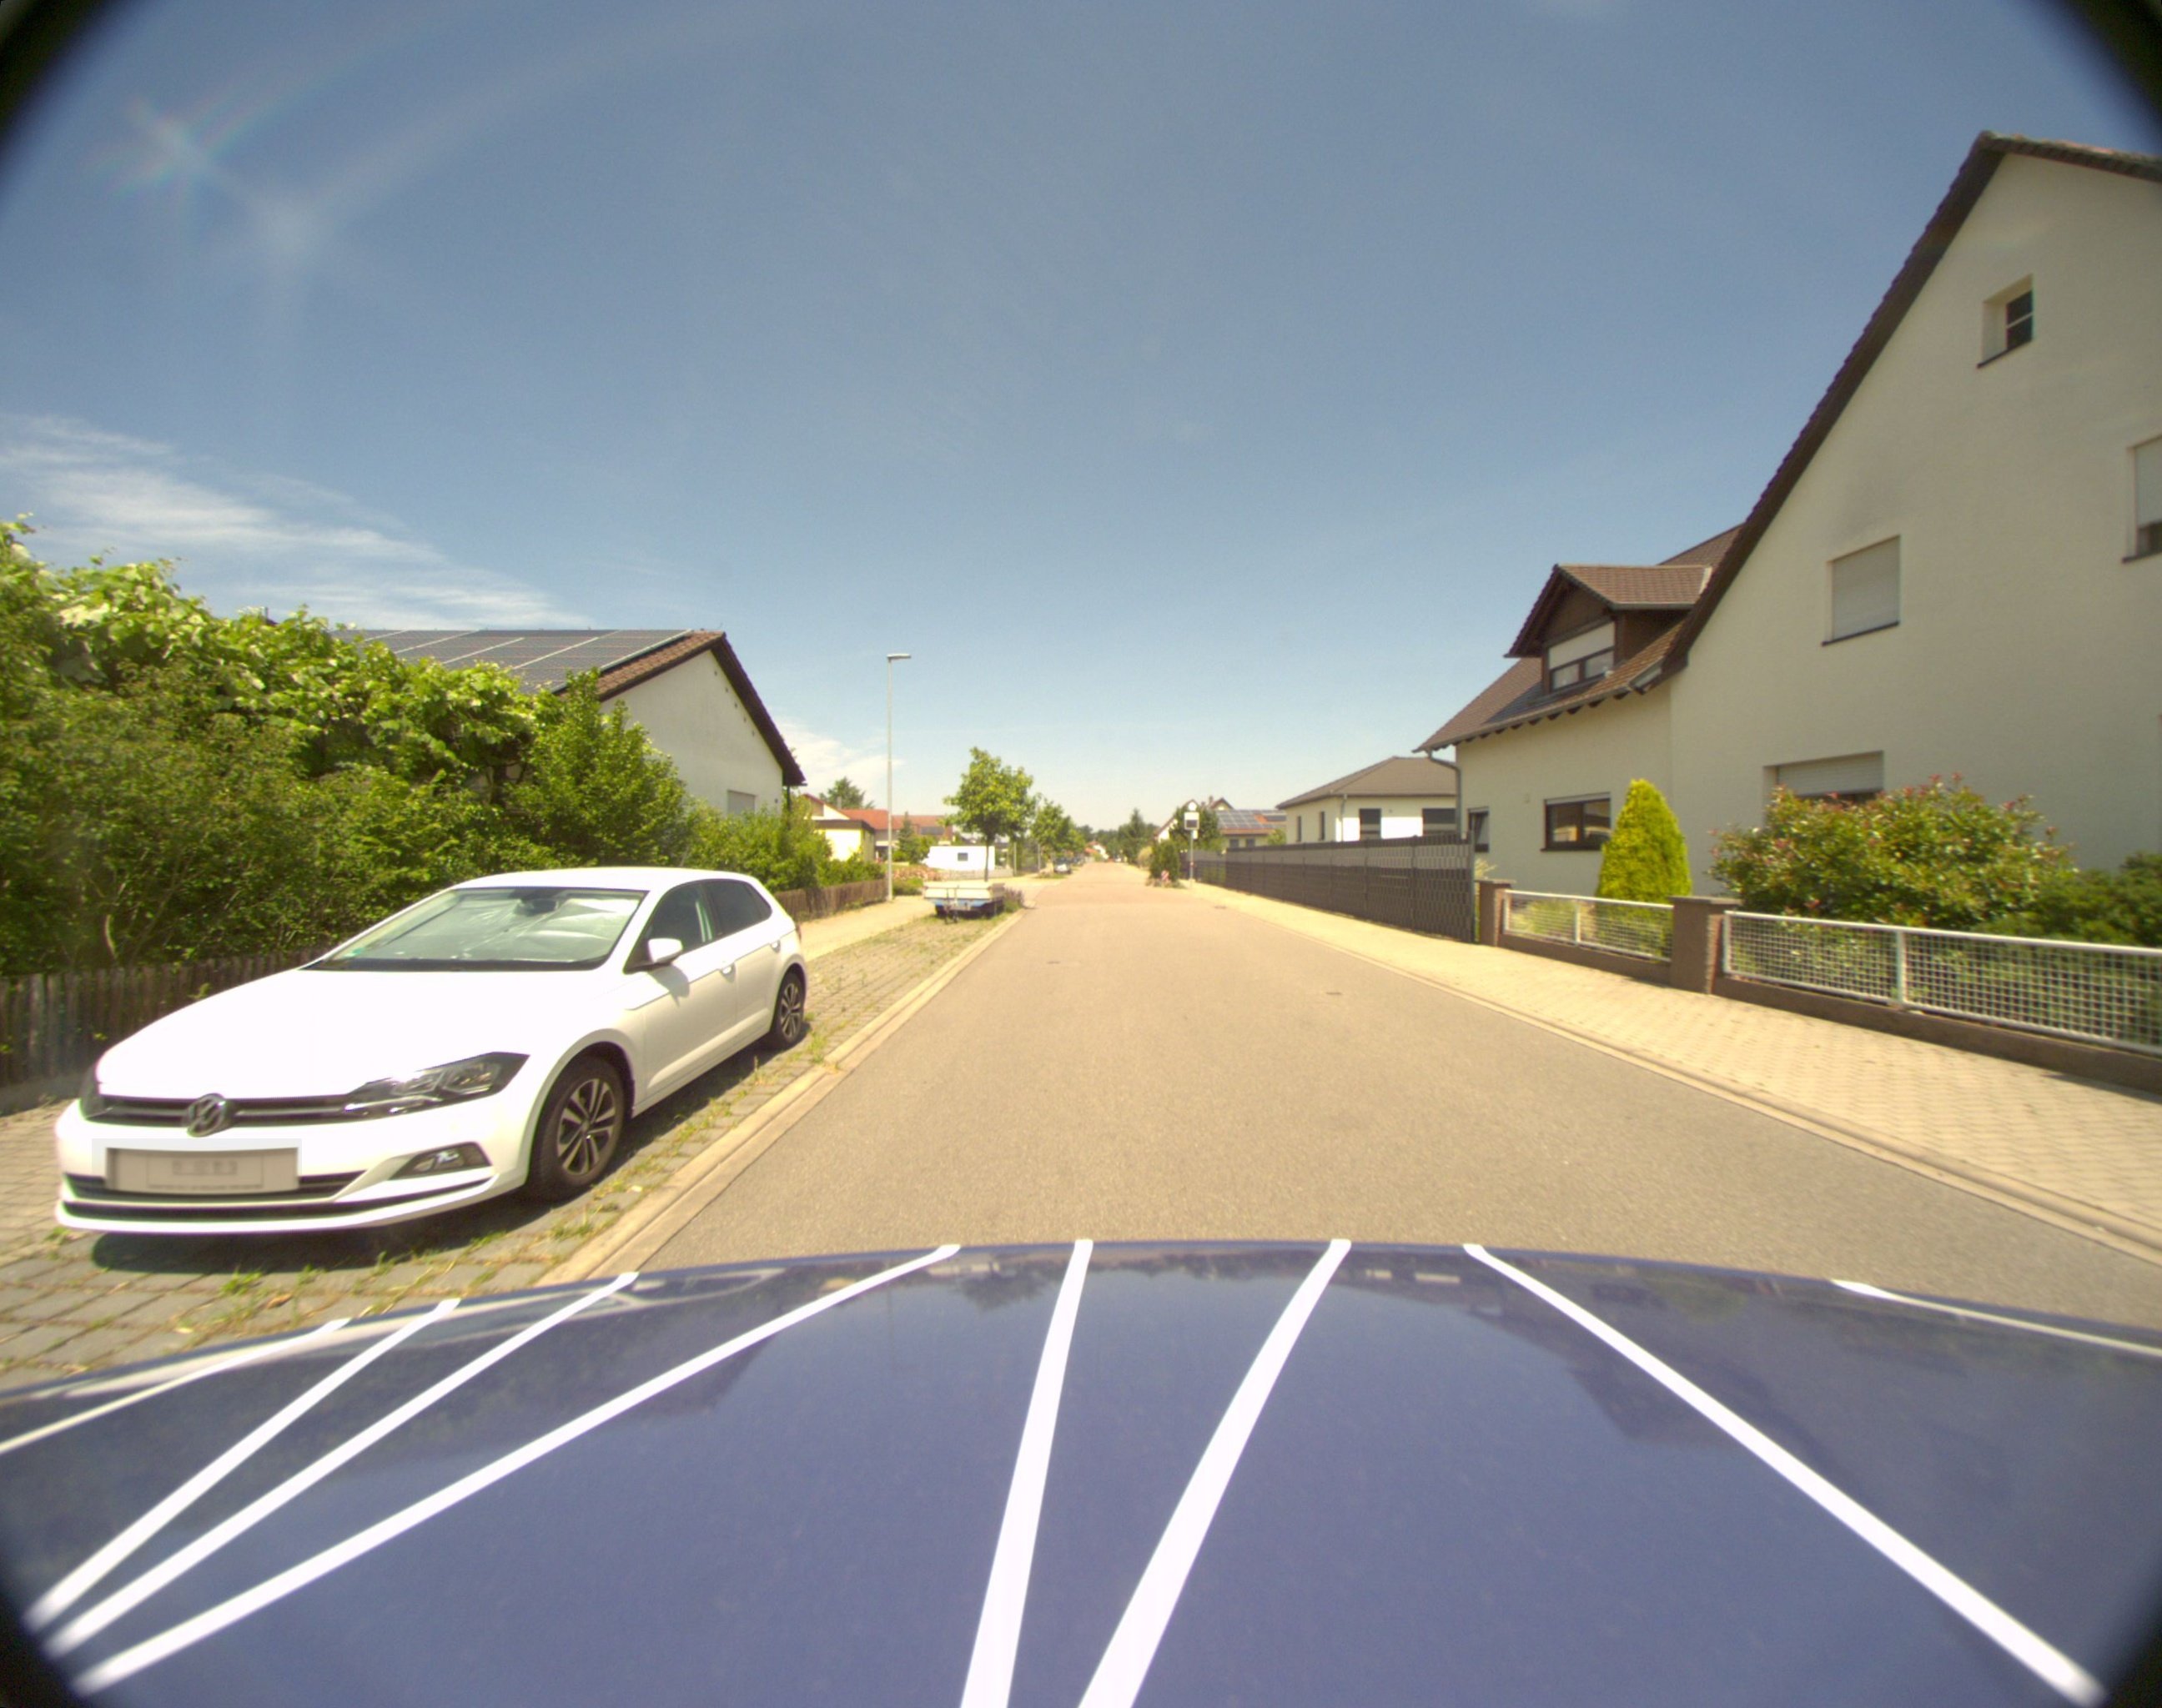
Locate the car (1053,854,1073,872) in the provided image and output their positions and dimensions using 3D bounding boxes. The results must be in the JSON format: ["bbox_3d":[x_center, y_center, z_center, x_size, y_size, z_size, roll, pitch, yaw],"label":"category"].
[{"bbox_3d":[-1.688,0.844,72.432,1.597,1.630,3.803,1,1,4],"label":"car"}]

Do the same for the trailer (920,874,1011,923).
[{"bbox_3d":[-2.845,1.078,19.238,1.792,1.052,2.898,-1,0,1],"label":"trailer"}]

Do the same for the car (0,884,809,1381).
[{"bbox_3d":[-3.151,0.965,4.353,1.819,1.412,3.867,-1,0,-1],"label":"car"}]
